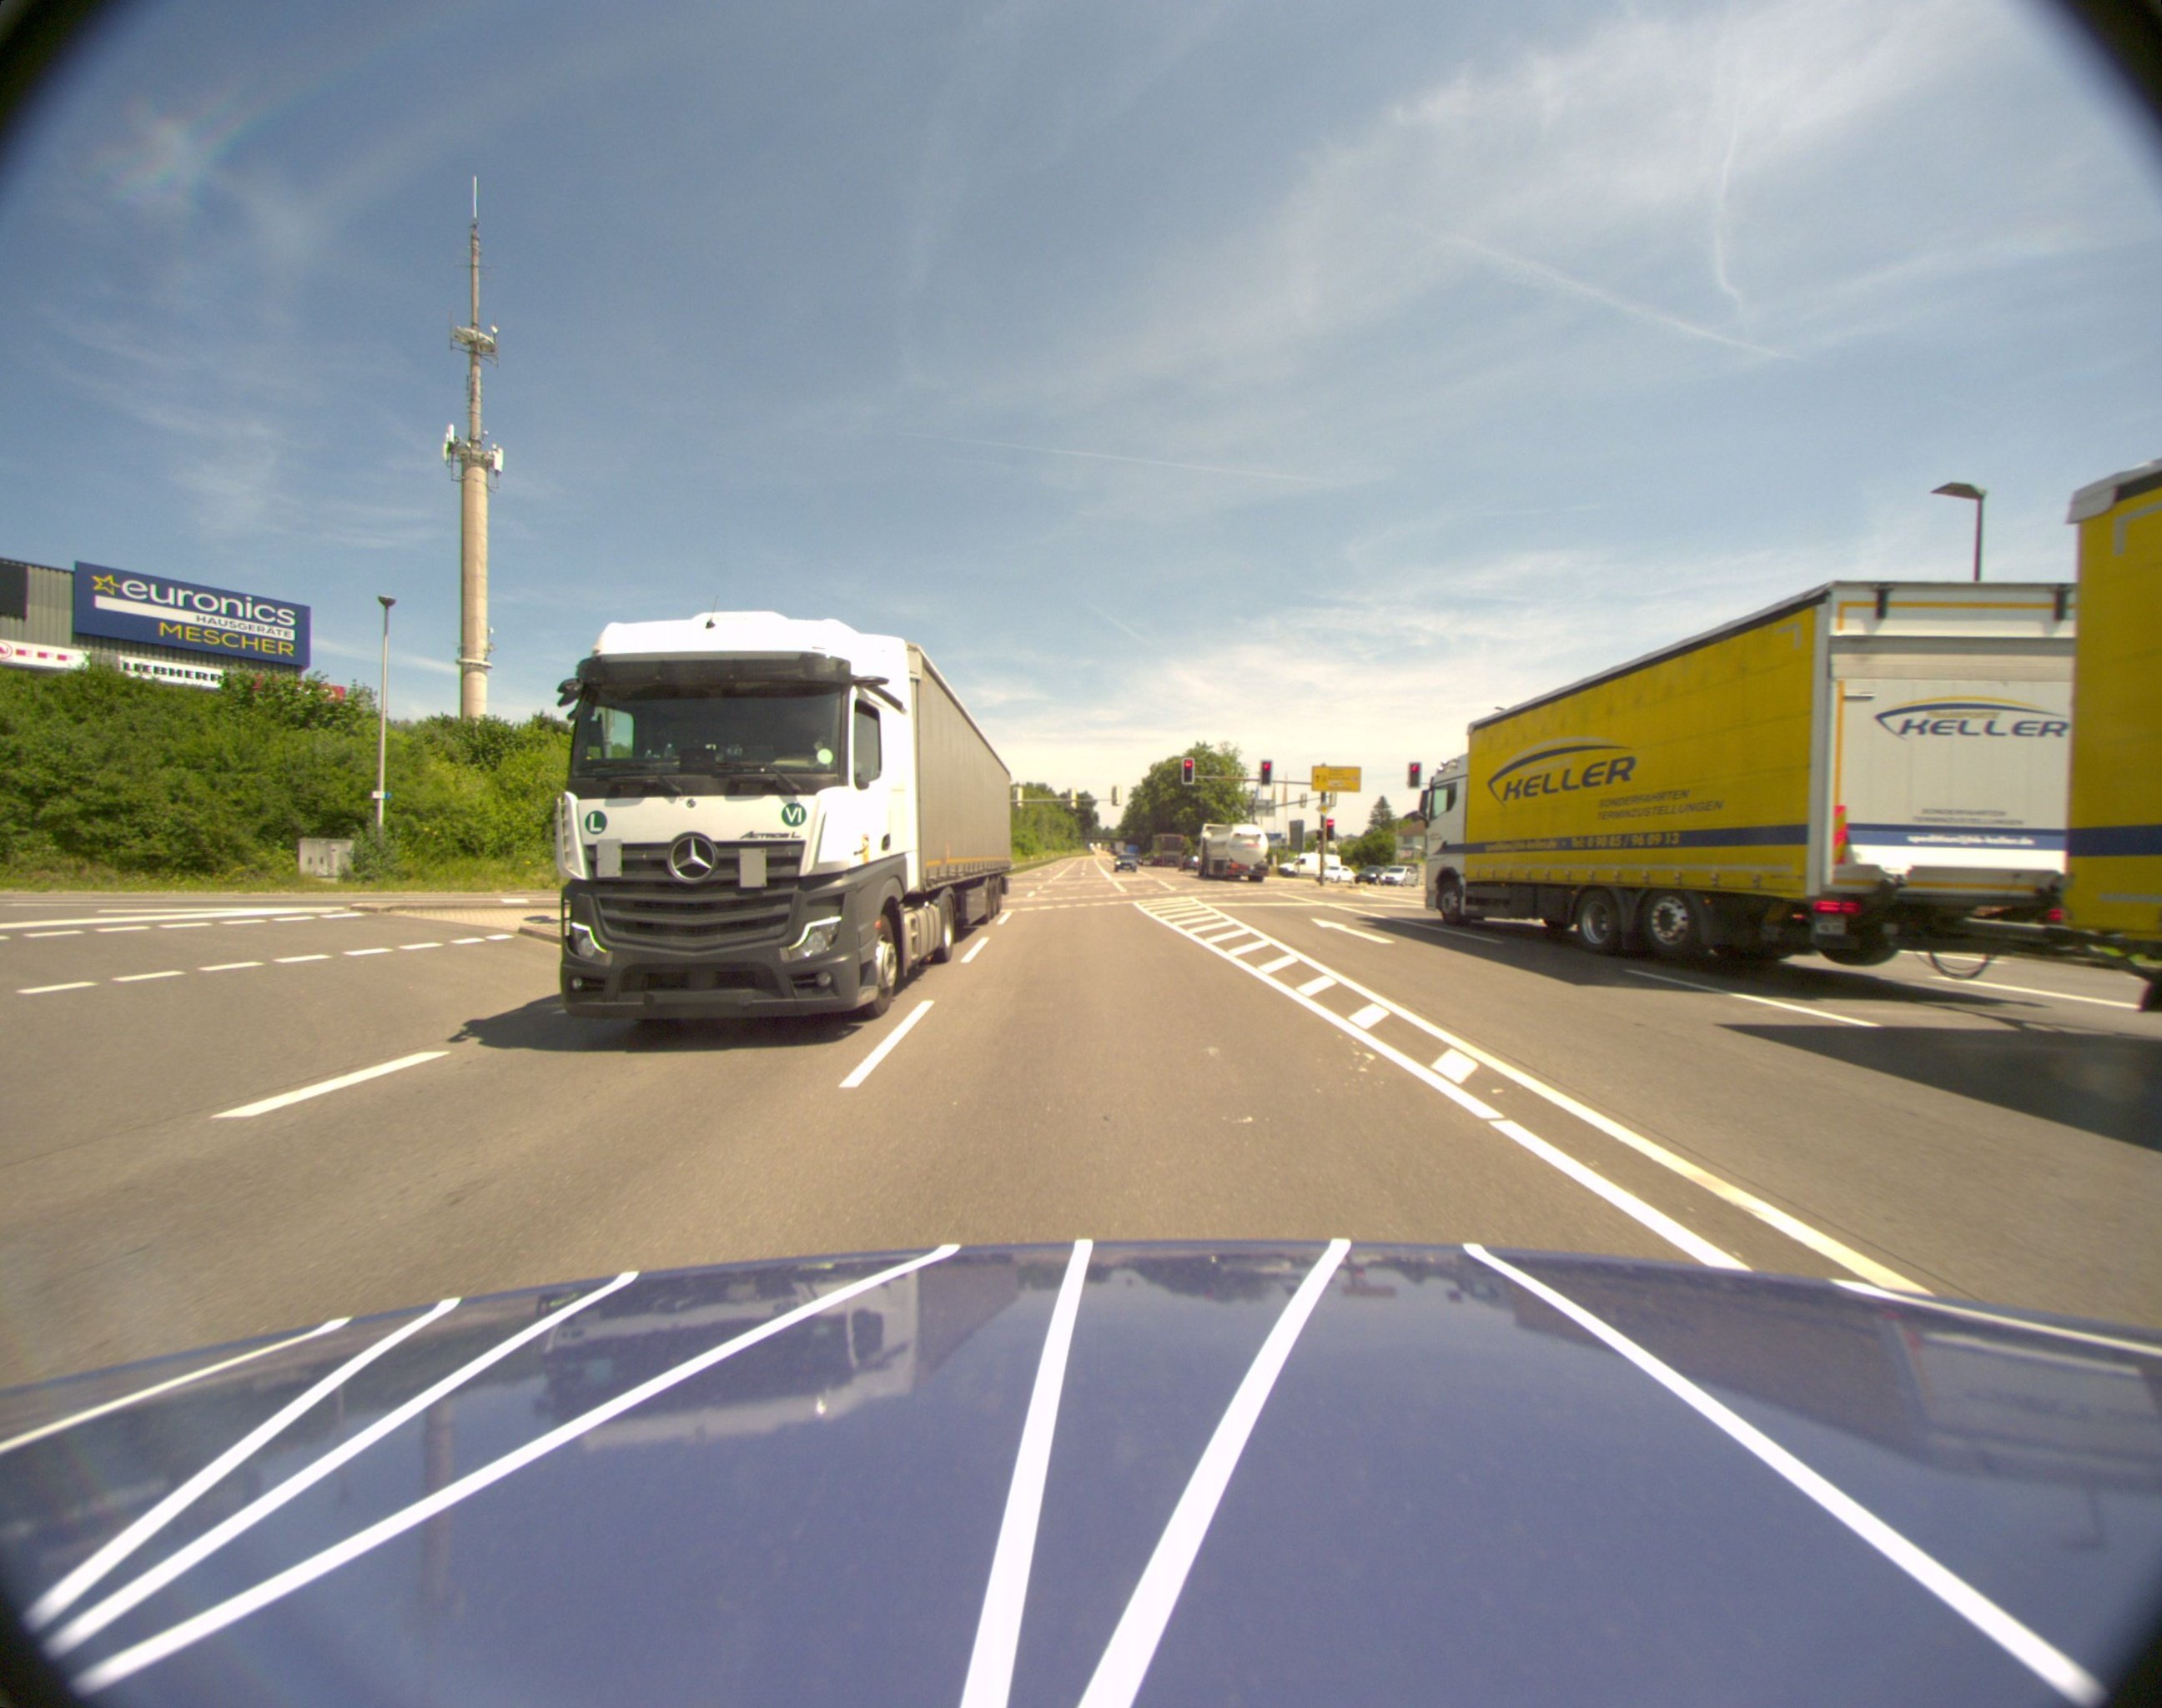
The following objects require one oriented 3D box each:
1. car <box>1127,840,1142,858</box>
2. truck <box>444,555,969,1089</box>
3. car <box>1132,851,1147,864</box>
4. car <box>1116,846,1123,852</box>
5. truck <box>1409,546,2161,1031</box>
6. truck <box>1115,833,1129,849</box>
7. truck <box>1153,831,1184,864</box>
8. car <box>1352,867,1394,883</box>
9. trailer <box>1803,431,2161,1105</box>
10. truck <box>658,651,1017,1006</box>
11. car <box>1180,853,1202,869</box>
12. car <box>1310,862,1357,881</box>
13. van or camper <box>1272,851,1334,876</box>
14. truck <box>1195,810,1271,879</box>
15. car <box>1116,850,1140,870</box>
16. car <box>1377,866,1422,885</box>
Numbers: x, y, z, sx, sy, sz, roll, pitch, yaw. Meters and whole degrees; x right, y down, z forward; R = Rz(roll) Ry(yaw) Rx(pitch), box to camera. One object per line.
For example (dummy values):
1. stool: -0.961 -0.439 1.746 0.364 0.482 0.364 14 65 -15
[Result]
1. car: 12.254 -1.122 174.043 3.350 4.056 7.695 1 0 5
2. truck: -3.322 -0.239 8.948 2.981 3.986 6.326 2 0 0
3. car: 7.557 0.460 98.314 1.687 1.489 3.955 3 1 2
4. car: 11.748 -1.485 229.230 1.899 2.002 3.754 2 0 5
5. truck: 8.607 -0.579 11.605 3.036 4.081 10.355 1 0 2
6. truck: 11.941 -3.677 219.709 3.533 4.496 7.204 -1 1 5
7. truck: 11.469 -0.805 101.052 2.851 3.932 17.089 1 0 2
8. car: 24.912 1.787 64.739 1.918 1.306 4.009 2 0 43
9. trailer: 8.221 -0.537 2.204 3.018 4.262 10.060 0 0 3
10. truck: -3.377 -0.300 15.760 2.981 3.986 14.121 2 0 -1
11. car: 10.734 0.623 74.629 1.687 1.420 4.154 2 1 2
12. car: 19.556 1.350 58.780 1.918 1.306 4.009 2 0 43
13. van or camper: 21.773 0.932 74.646 5.466 2.398 2.096 0 1 -2
14. truck: 10.017 -0.595 51.927 2.611 3.995 15.131 1 0 2
15. car: 4.096 0.483 66.646 1.928 1.601 4.510 0 1 2
16. car: 24.986 1.662 59.529 1.918 1.413 4.009 2 0 43
